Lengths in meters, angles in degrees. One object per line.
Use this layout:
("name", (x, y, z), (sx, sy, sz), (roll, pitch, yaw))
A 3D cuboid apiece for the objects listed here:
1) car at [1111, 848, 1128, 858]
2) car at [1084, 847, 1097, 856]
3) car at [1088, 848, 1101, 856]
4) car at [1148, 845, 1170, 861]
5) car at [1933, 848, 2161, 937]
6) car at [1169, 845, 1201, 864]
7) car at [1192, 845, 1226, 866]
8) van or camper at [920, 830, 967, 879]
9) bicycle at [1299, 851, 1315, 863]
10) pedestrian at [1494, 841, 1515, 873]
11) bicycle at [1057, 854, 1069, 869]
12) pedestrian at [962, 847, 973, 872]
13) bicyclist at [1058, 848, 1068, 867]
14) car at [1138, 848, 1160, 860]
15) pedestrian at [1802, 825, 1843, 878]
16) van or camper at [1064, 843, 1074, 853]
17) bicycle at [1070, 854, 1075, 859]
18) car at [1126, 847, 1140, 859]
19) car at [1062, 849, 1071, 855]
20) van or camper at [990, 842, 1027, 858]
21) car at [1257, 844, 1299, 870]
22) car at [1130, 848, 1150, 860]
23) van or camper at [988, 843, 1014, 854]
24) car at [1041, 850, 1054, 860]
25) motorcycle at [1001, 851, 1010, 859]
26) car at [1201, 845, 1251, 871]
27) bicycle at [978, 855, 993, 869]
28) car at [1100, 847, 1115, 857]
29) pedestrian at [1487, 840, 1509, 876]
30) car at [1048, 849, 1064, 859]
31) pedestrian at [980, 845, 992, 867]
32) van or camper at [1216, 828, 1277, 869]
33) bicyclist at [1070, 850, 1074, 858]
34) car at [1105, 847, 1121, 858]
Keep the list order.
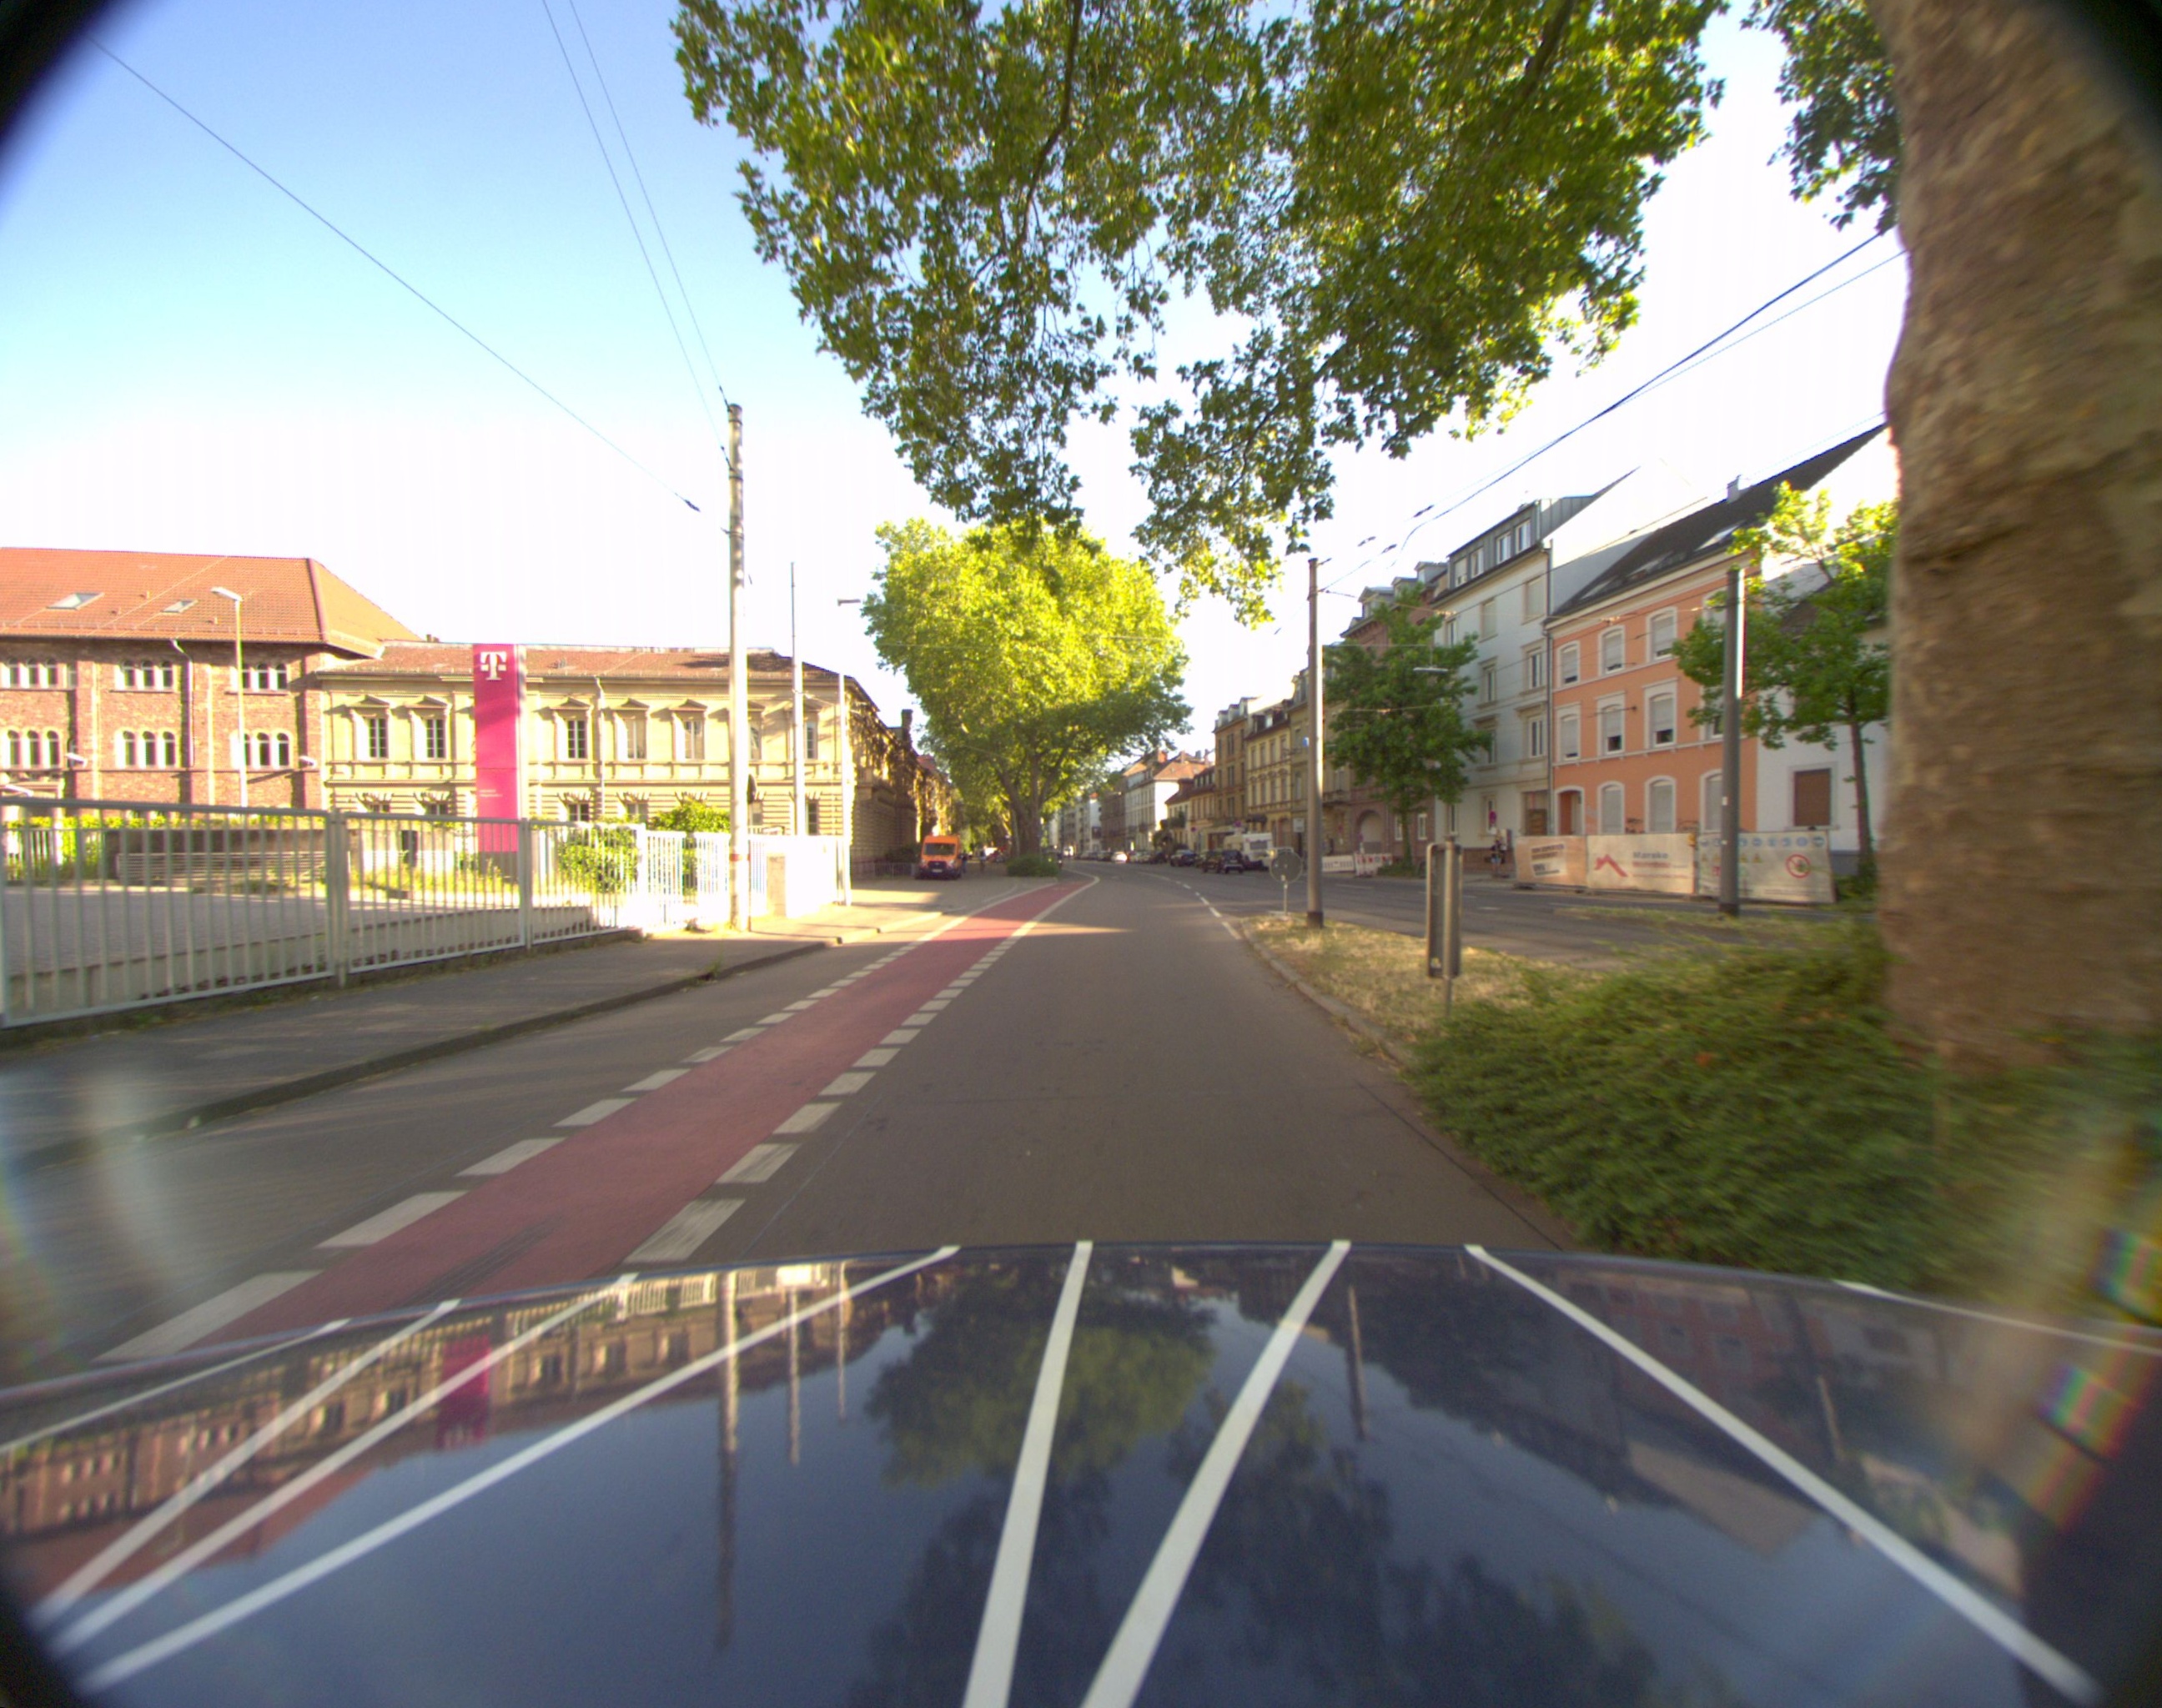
("car", (5.834, -0.131, 114.898), (1.869, 1.423, 4.080), (-3, 1, -7))
("car", (1.804, -0.513, 145.470), (1.799, 1.618, 4.080), (-3, 1, -7))
("car", (2.405, -0.393, 139.935), (1.799, 1.368, 4.080), (-3, 1, -7))
("car", (9.198, -0.161, 89.642), (1.729, 1.736, 3.623), (-4, 1, -6))
("car", (19.408, 0.657, 13.937), (2.000, 1.505, 4.721), (0, 1, -8))
("car", (10.569, 0.039, 77.598), (2.000, 1.693, 4.746), (-4, 1, -8))
("car", (11.774, 0.112, 70.231), (1.816, 1.696, 4.439), (-4, 1, -8))
("van or camper", (-7.619, -0.019, 42.590), (2.042, 2.545, 5.769), (0, 1, -5))
("bicycle", (17.455, 0.245, 58.676), (0.580, 0.919, 1.791), (-1, 1, -5))
("pedestrian", (19.641, 0.126, 35.257), (0.577, 1.453, 0.607), (-3, 1, -8))
("bicycle", (-1.422, 0.594, 59.206), (0.715, 1.131, 2.119), (-1, 1, -6))
("pedestrian", (-8.046, 0.364, 53.863), (0.652, 1.726, 1.007), (-1, 1, -6))
("bicyclist", (-1.422, 0.276, 59.212), (0.715, 1.435, 0.953), (-1, 1, -6))
("car", (8.375, -0.024, 93.975), (1.668, 1.446, 4.401), (-3, 1, -7))
("pedestrian", (22.112, -0.086, 22.665), (0.596, 1.561, 0.639), (-1, 1, -8))
("van or camper", (-2.868, -1.494, 181.346), (1.946, 2.267, 4.594), (-3, 1, -7))
("bicycle", (-1.766, 0.507, 156.045), (0.715, 1.131, 2.119), (-1, 1, -6))
("car", (7.155, -0.141, 104.734), (1.422, 1.502, 3.324), (-3, 1, -4))
("car", (-3.626, -0.519, 186.794), (1.809, 1.534, 3.916), (-3, 1, -7))
("van or camper", (-11.797, -0.639, 123.340), (5.932, 2.484, 2.218), (-1, 4, -9))
("car", (14.028, 0.200, 54.296), (1.636, 1.696, 3.368), (-4, 1, -10))
("car", (7.672, -0.039, 99.352), (1.587, 1.482, 4.467), (-3, 1, -7))
("van or camper", (-19.303, -1.323, 182.995), (6.103, 2.417, 2.426), (0, 1, -7))
("car", (-5.282, 0.164, 119.093), (1.741, 1.365, 3.916), (-3, 1, -7))
("motorcycle", (-10.212, 0.166, 103.090), (1.274, 1.048, 0.394), (-1, 1, -43))
("car", (9.615, 0.230, 50.823), (2.000, 1.679, 4.306), (0, 1, -8))
("bicycle", (-7.208, 0.590, 57.291), (0.677, 1.026, 1.897), (1, 1, -19))
("car", (4.296, -0.373, 125.278), (1.799, 1.631, 4.251), (-3, 1, -7))
("pedestrian", (19.078, 0.180, 34.767), (0.569, 1.644, 0.687), (-3, 1, -6))
("car", (-3.435, -0.022, 104.163), (1.741, 1.365, 3.916), (-3, 1, -7))
("pedestrian", (-7.112, 0.167, 57.078), (0.672, 1.610, 1.100), (1, 1, -18))
("van or camper", (13.052, -0.471, 60.518), (2.426, 2.930, 7.246), (-4, 1, -5))
("bicyclist", (-1.802, 0.028, 155.979), (0.715, 1.508, 0.953), (-1, 1, -6))
("car", (5.085, -0.214, 119.707), (1.799, 1.587, 4.080), (-3, 1, -7))
